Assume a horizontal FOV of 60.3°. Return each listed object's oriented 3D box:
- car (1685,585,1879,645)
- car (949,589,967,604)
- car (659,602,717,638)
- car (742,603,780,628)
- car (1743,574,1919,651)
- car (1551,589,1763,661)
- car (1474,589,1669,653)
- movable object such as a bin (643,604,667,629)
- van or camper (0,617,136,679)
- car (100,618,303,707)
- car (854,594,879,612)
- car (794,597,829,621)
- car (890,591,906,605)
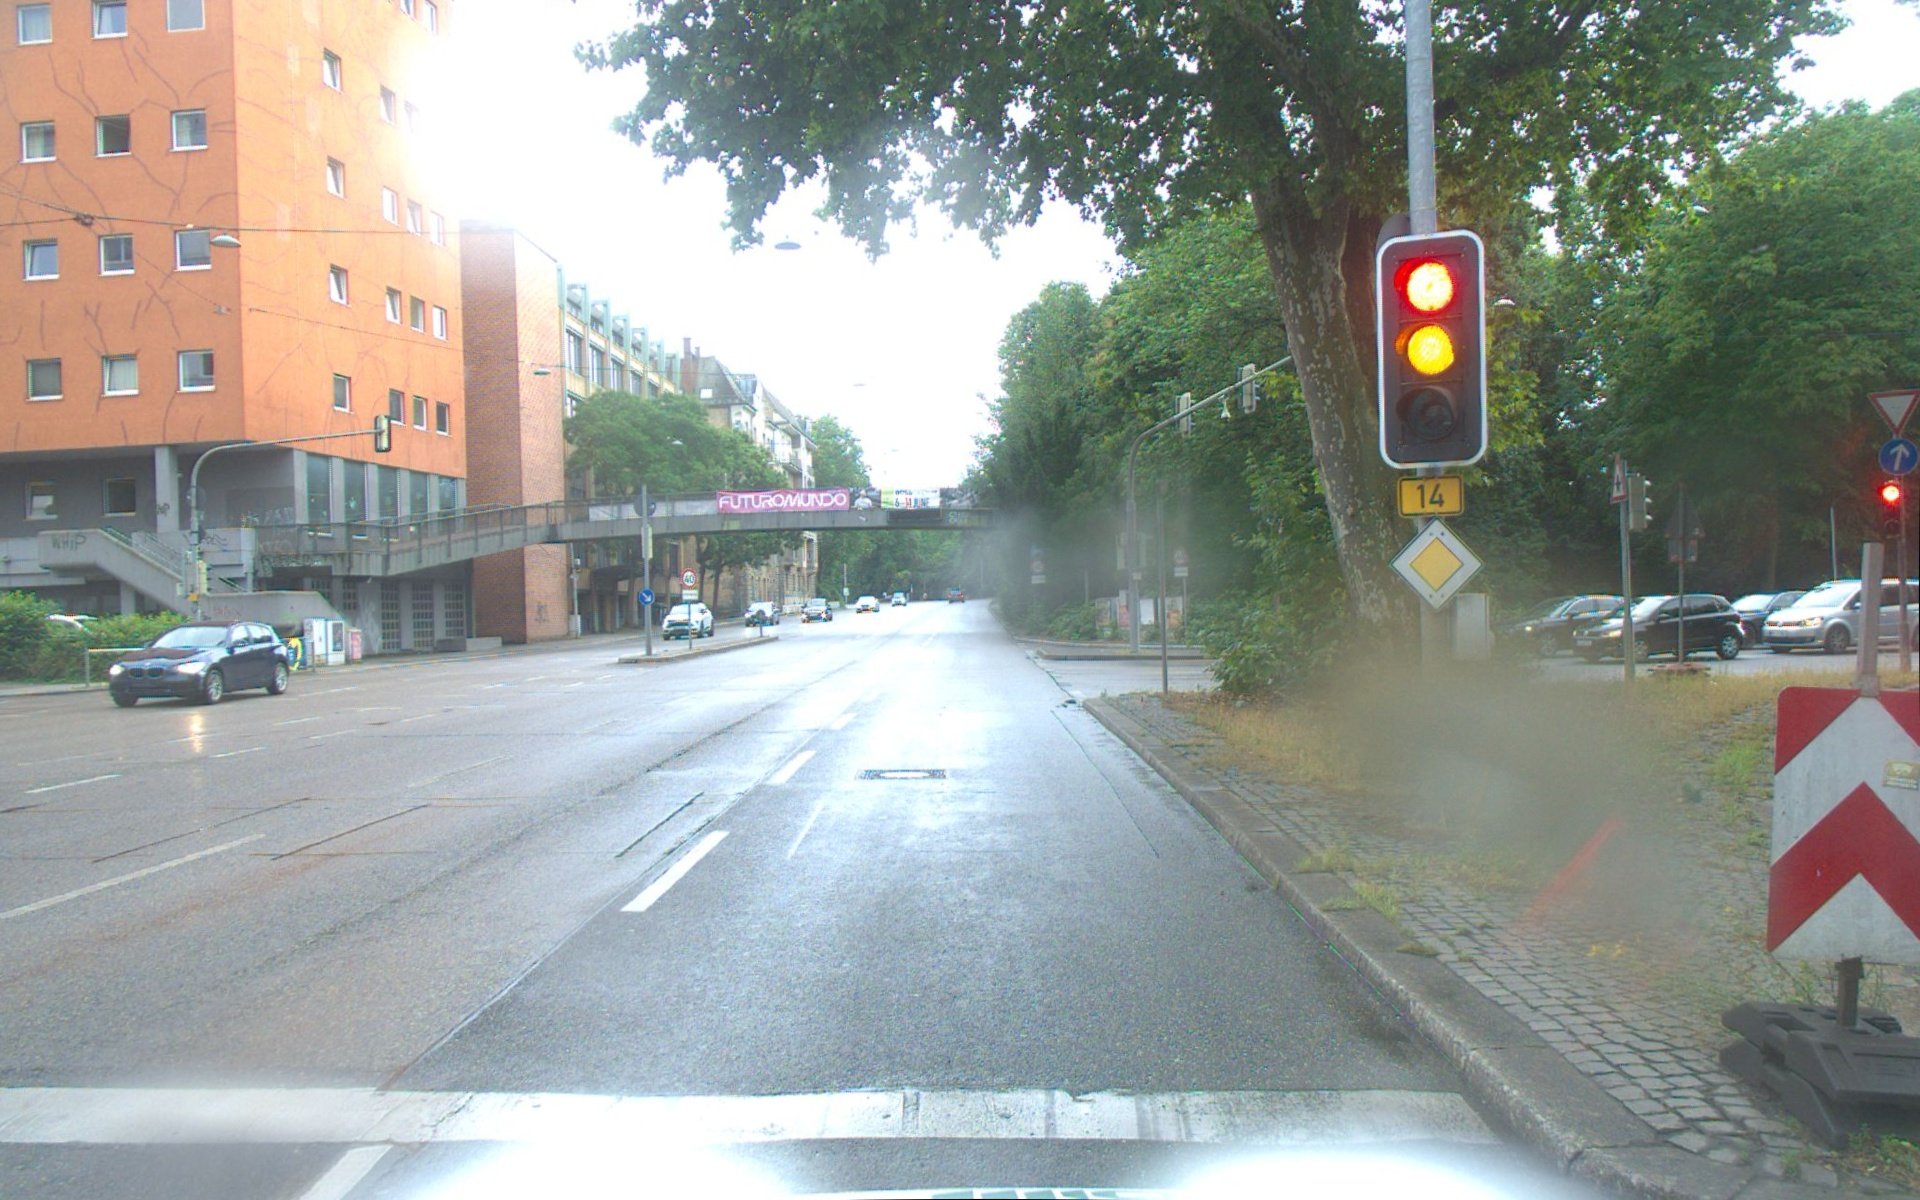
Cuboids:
[{"bbox_3d":[20.819,0.375,41.922,4.361,1.427,1.821,1,0,-17],"label":"car"},{"bbox_3d":[-0.257,-0.359,192.755,1.964,1.672,4.374,-1,0,-2],"label":"car"},{"bbox_3d":[-12.842,0.927,78.387,1.850,1.638,4.457,-1,0,2],"label":"car"},{"bbox_3d":[-12.308,0.931,102.541,1.673,1.490,4.042,-2,0,2],"label":"car"},{"bbox_3d":[20.613,0.299,38.508,4.129,1.709,1.898,1,0,-17],"label":"car"},{"bbox_3d":[15.371,0.556,36.514,4.119,1.486,1.785,1,0,-17],"label":"car"},{"bbox_3d":[14.863,0.514,40.265,4.131,1.466,1.941,1,0,-17],"label":"car"},{"bbox_3d":[-19.686,1.046,106.805,1.256,1.545,1.273,-1,0,1],"label":"movable object such as a bin"},{"bbox_3d":[-25.925,1.358,47.150,3.902,1.656,1.915,-1,0,5],"label":"van or camper"},{"bbox_3d":[-13.819,1.092,30.400,1.651,1.444,4.215,-2,0,1],"label":"car"},{"bbox_3d":[-7.974,0.253,141.654,1.793,1.418,4.405,-3,0,1],"label":"car"},{"bbox_3d":[-9.507,0.586,106.242,1.648,1.461,3.864,-2,0,3],"label":"car"},{"bbox_3d":[-7.050,-0.191,188.254,1.568,1.525,3.712,-3,0,1],"label":"car"}]
